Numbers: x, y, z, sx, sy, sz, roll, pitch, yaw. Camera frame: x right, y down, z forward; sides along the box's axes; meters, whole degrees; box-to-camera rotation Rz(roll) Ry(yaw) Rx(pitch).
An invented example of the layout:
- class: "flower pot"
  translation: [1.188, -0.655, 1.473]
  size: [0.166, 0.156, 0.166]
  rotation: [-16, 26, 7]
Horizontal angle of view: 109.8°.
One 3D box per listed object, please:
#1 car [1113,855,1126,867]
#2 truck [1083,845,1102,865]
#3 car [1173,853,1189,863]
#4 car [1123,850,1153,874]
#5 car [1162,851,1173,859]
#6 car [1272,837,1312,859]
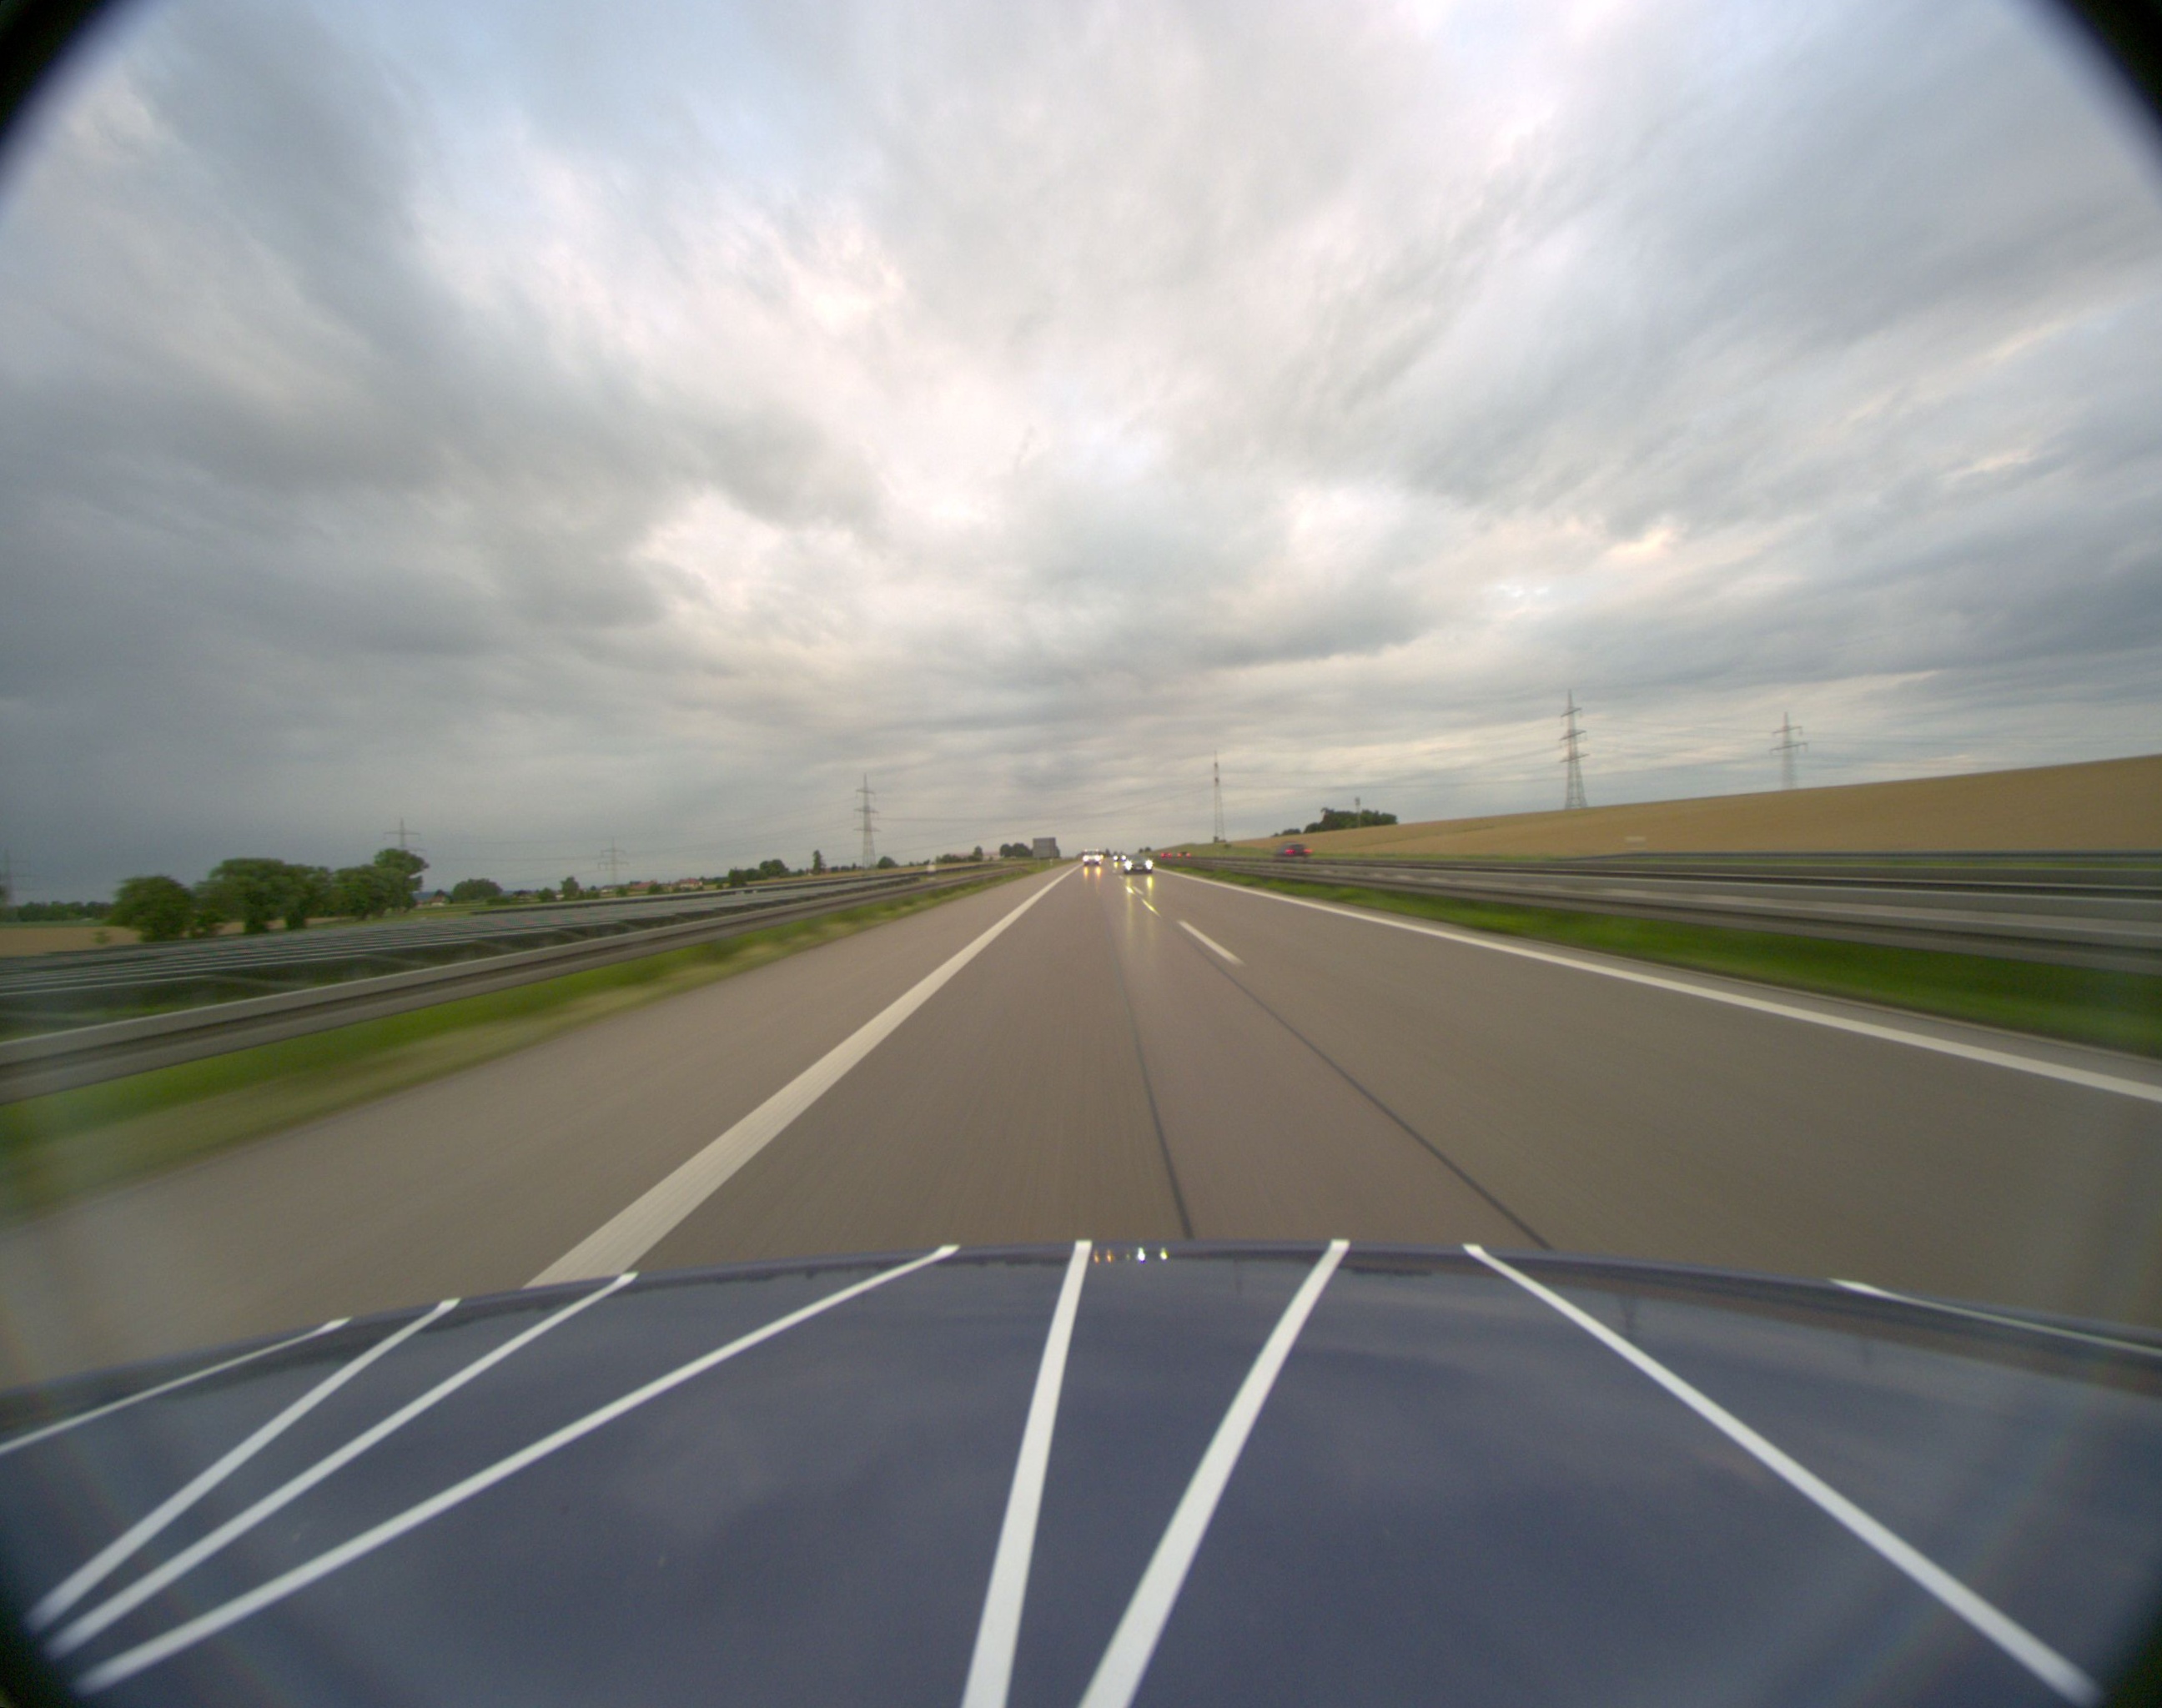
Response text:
- class: "car"
  translation: [7.143, 1.319, 142.184]
  size: [1.998, 2.002, 4.461]
  rotation: [-5, 0, 0]
- class: "truck"
  translation: [1.560, 0.110, 100.109]
  size: [2.177, 2.346, 7.697]
  rotation: [-5, 0, 1]
- class: "car"
  translation: [14.913, 0.605, 113.674]
  size: [1.664, 1.432, 4.130]
  rotation: [-5, 0, -1]
- class: "car"
  translation: [4.199, 0.546, 56.178]
  size: [1.951, 1.619, 4.536]
  rotation: [-3, 0, 2]
- class: "car"
  translation: [17.123, 0.150, 150.631]
  size: [1.570, 1.357, 4.620]
  rotation: [-5, 0, 2]
- class: "car"
  translation: [18.164, -0.474, 65.732]
  size: [1.891, 1.683, 5.769]
  rotation: [-5, 0, 2]
